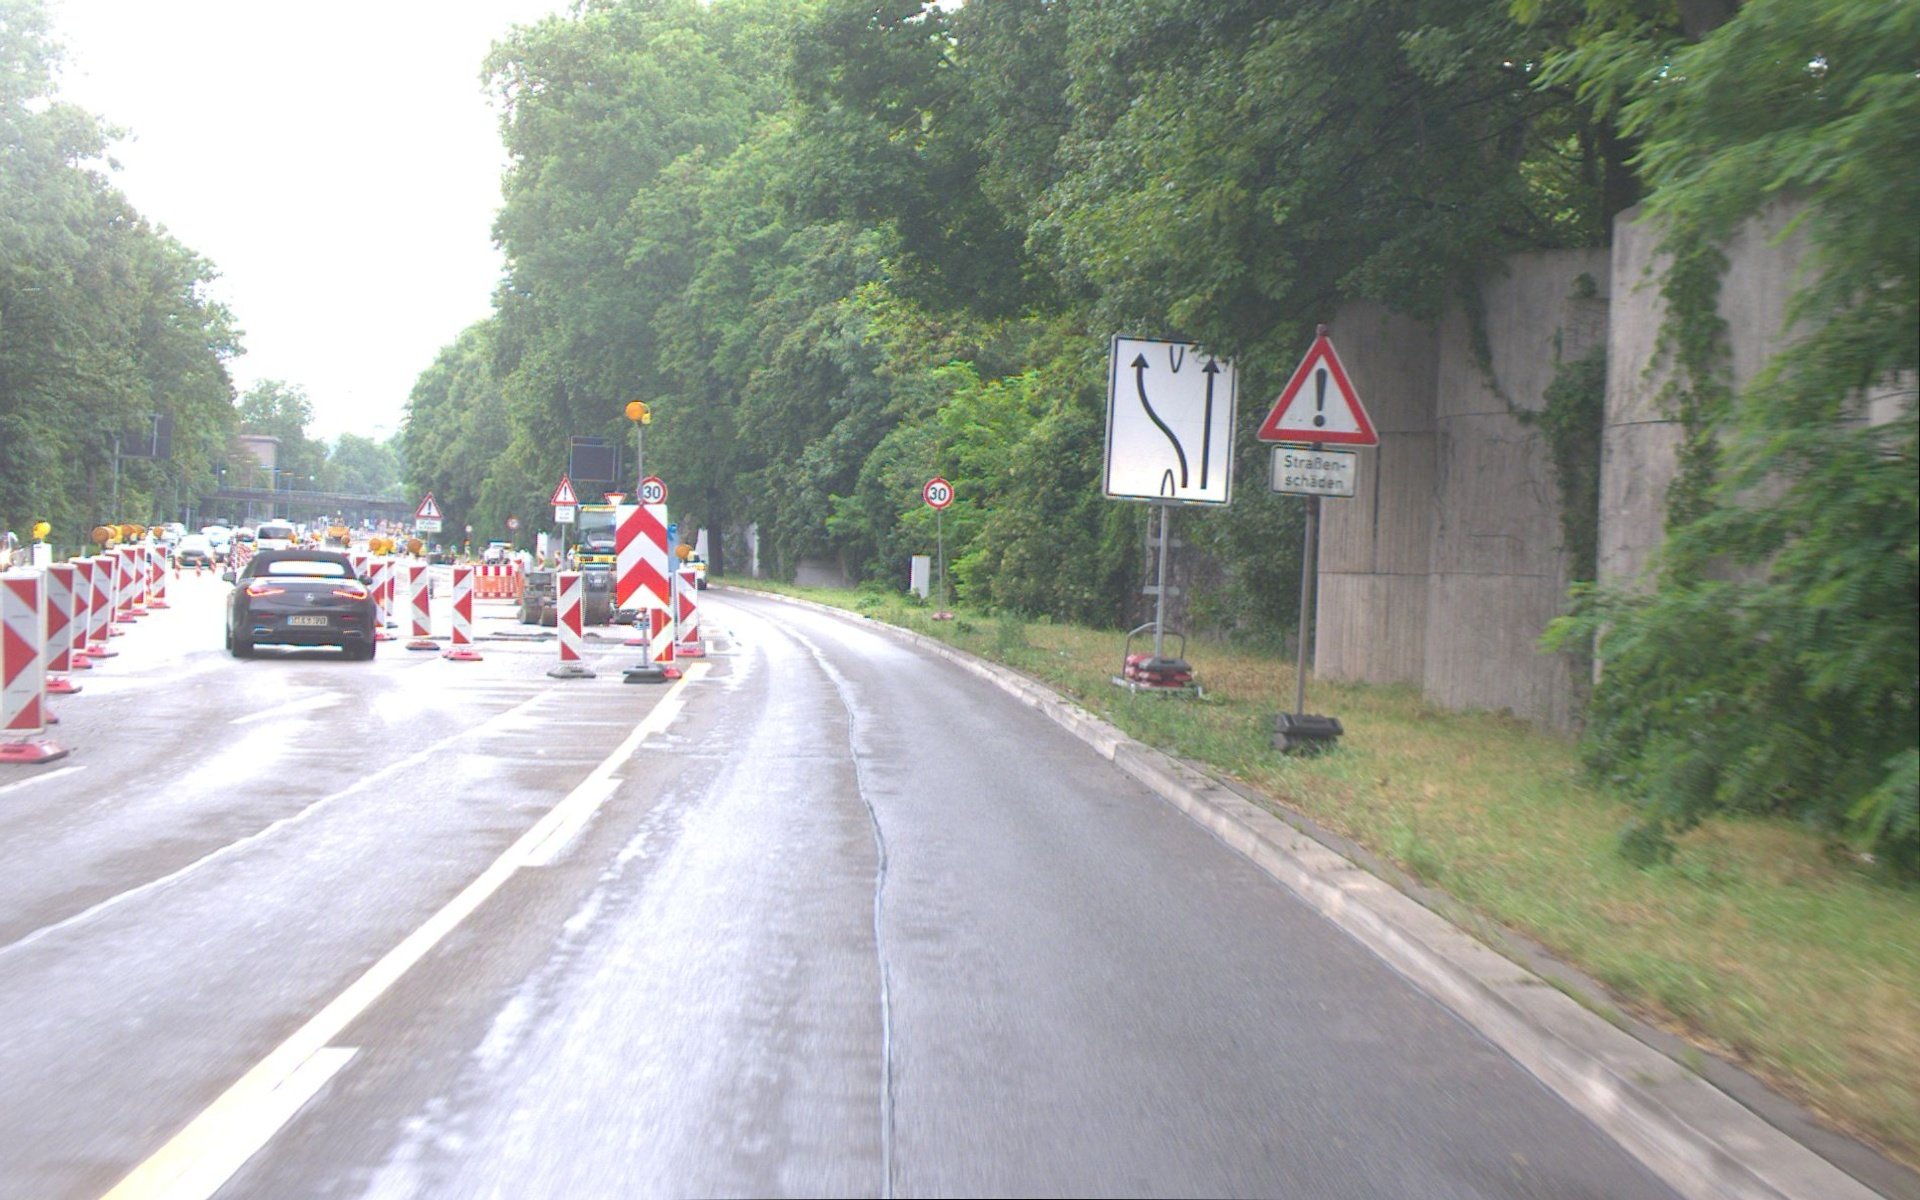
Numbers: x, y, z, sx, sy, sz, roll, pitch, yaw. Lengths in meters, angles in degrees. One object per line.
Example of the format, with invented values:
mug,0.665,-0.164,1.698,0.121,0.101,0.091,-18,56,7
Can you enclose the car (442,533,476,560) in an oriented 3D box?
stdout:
car,-33.176,-3.556,227.635,1.875,1.612,4.001,4,1,-5

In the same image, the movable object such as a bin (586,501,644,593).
movable object such as a bin,-11.095,-1.706,110.378,1.746,2.857,3.535,1,1,-7

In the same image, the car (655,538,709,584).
car,-10.454,-1.484,129.124,1.914,1.592,4.835,2,1,-5

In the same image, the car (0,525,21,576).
car,-28.001,-1.421,98.352,1.525,1.452,3.540,0,1,-3

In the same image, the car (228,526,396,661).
car,-8.606,-0.123,45.918,1.861,1.486,4.002,3,3,-7
